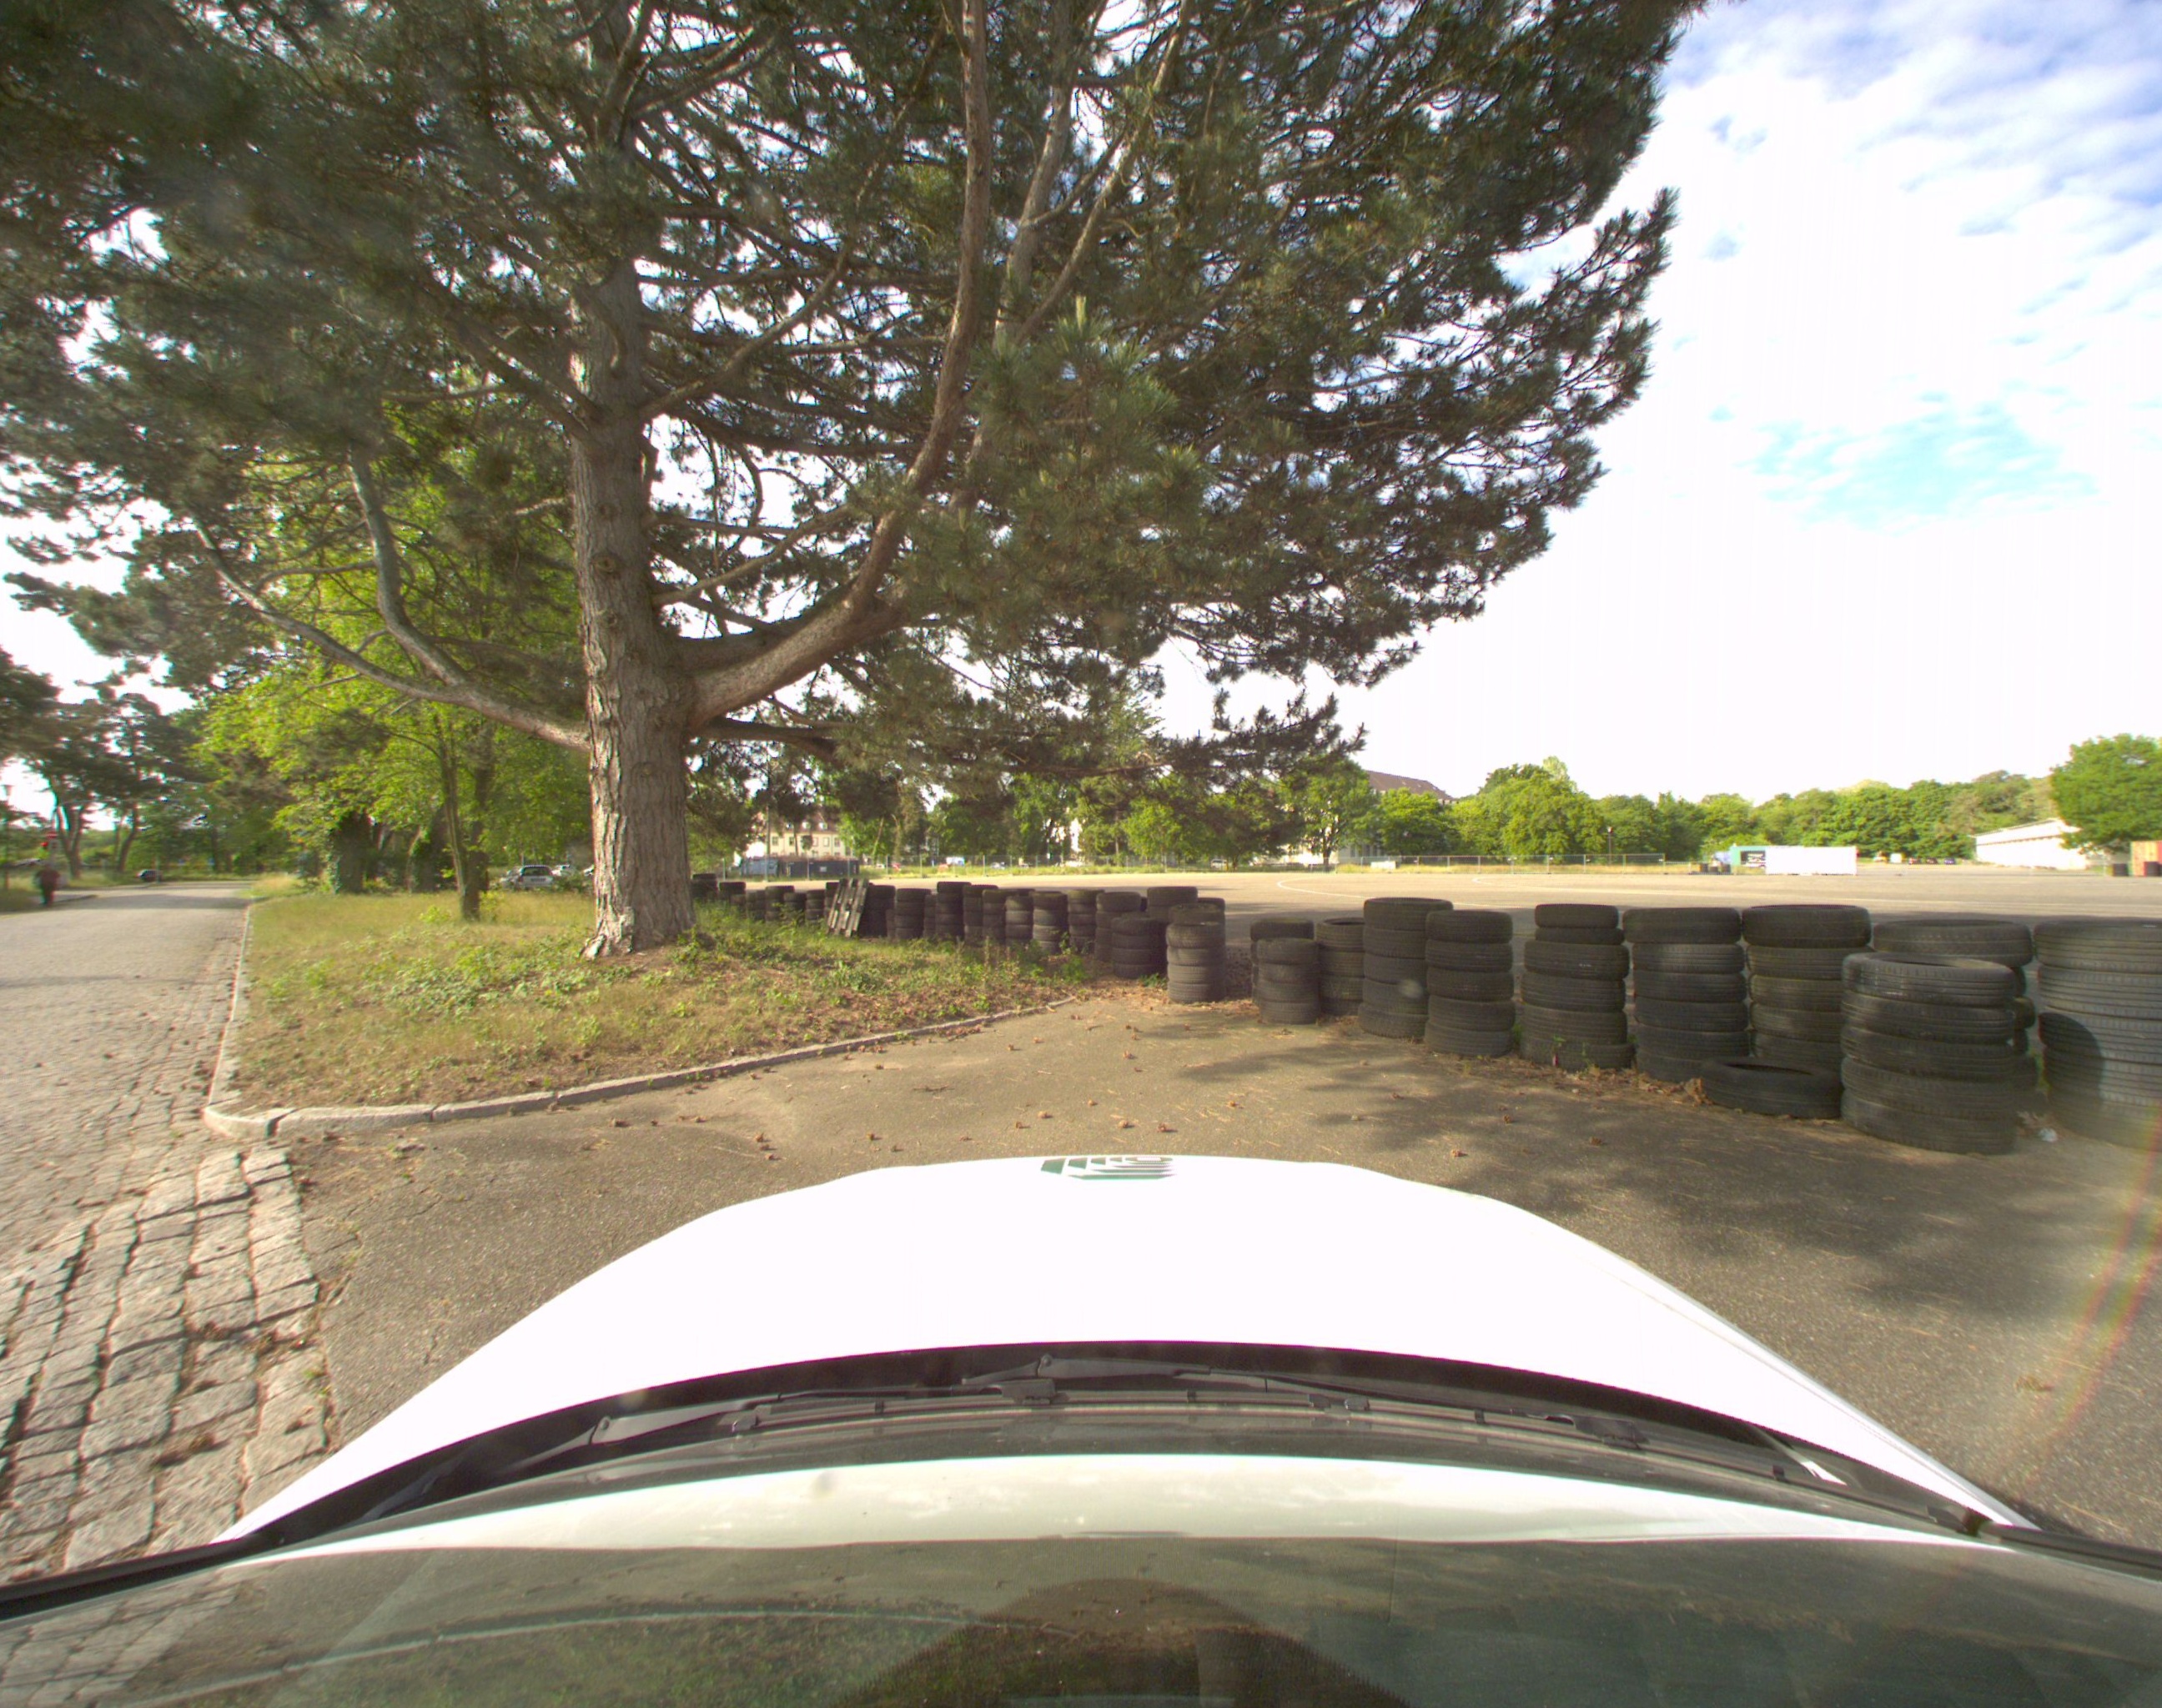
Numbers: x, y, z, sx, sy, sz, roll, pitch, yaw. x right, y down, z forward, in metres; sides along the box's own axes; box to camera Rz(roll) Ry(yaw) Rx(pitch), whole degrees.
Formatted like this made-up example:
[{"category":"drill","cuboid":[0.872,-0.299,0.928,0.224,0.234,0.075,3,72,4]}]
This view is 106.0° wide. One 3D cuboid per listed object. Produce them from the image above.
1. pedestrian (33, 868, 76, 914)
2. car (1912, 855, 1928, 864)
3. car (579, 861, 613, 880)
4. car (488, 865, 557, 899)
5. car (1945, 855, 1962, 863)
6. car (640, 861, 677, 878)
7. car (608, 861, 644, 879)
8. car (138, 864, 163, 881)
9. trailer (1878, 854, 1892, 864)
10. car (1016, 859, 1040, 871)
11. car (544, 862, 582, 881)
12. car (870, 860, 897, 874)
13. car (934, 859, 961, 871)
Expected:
[{"category":"pedestrian","cuboid":[-42.370,1.511,33.618,0.943,1.844,0.965,-1,-1,31]},{"category":"car","cuboid":[177.430,1.184,172.179,1.974,1.750,4.025,-1,-1,41]},{"category":"car","cuboid":[-44.430,1.510,74.612,1.837,1.618,3.951,0,-1,-43]},{"category":"car","cuboid":[-26.953,1.316,39.260,3.949,1.541,1.904,-1,-1,43]},{"category":"car","cuboid":[180.990,0.998,169.011,1.974,1.750,4.025,-1,-1,41]},{"category":"car","cuboid":[-40.977,1.519,78.957,3.950,1.618,2.012,-1,-1,45]},{"category":"car","cuboid":[-42.840,1.511,76.634,3.950,1.618,2.012,-1,-1,45]},{"category":"car","cuboid":[-110.500,2.166,96.758,3.950,2.014,1.713,-1,-1,45]},{"category":"trailer","cuboid":[175.690,1.075,178.023,1.975,2.014,4.024,-1,-1,42]},{"category":"car","cuboid":[-8.297,1.751,127.181,2.009,1.750,3.956,0,-1,-35]},{"category":"car","cuboid":[-46.158,1.543,72.492,3.950,1.618,2.012,-1,-1,45]},{"category":"car","cuboid":[-26.491,1.709,109.051,2.010,1.750,3.953,0,-1,-40]},{"category":"car","cuboid":[-19.077,1.575,116.284,2.010,1.750,3.953,0,-1,-39]}]
